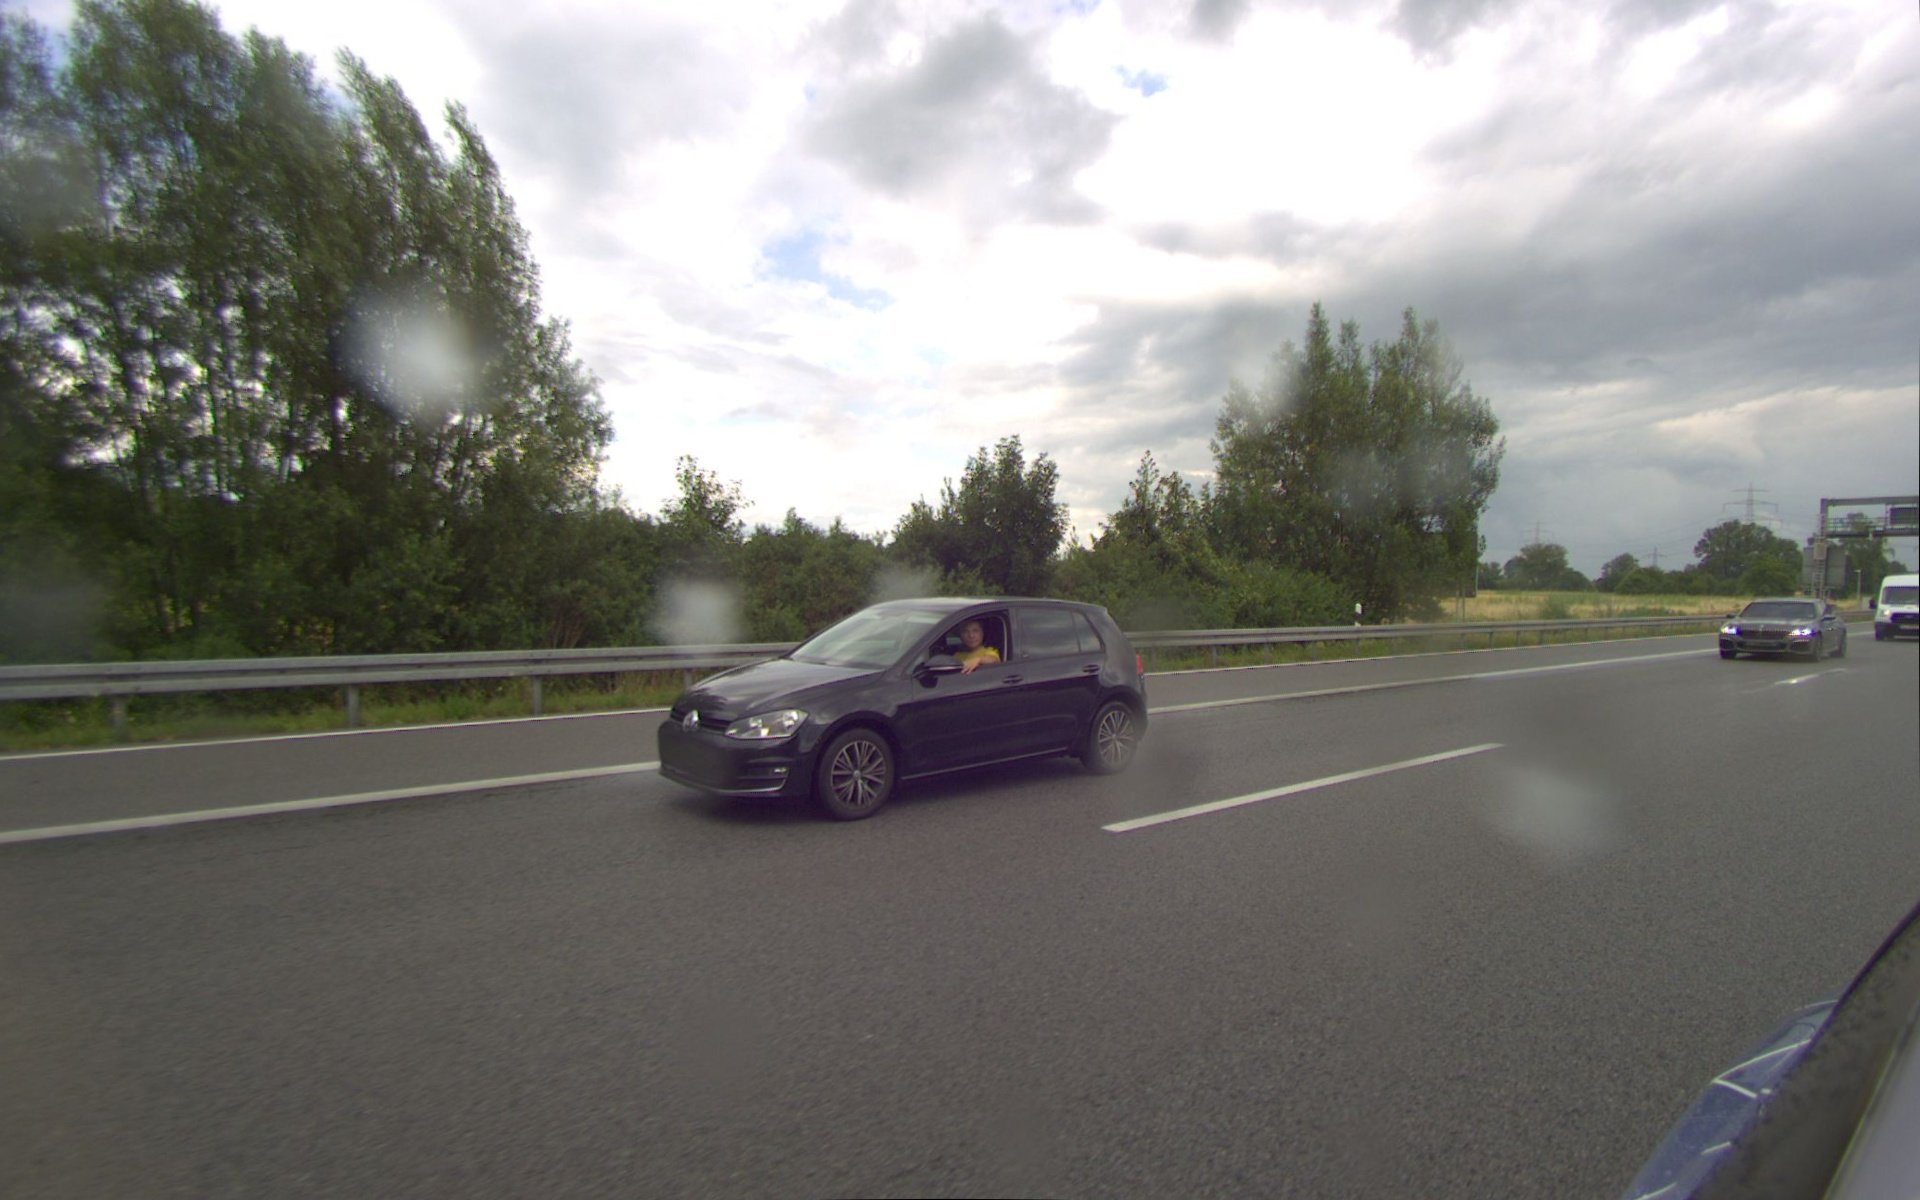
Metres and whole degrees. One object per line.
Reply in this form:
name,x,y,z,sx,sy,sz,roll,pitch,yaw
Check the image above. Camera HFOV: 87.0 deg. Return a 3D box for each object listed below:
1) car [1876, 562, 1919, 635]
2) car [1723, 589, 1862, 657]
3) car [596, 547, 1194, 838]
car,35.439,-0.053,37.056,5.352,2.532,2.144,0,1,-41
car,20.685,0.496,25.079,4.692,1.510,1.943,0,1,-41
car,-0.308,0.507,7.754,4.375,1.651,1.711,0,1,-38
